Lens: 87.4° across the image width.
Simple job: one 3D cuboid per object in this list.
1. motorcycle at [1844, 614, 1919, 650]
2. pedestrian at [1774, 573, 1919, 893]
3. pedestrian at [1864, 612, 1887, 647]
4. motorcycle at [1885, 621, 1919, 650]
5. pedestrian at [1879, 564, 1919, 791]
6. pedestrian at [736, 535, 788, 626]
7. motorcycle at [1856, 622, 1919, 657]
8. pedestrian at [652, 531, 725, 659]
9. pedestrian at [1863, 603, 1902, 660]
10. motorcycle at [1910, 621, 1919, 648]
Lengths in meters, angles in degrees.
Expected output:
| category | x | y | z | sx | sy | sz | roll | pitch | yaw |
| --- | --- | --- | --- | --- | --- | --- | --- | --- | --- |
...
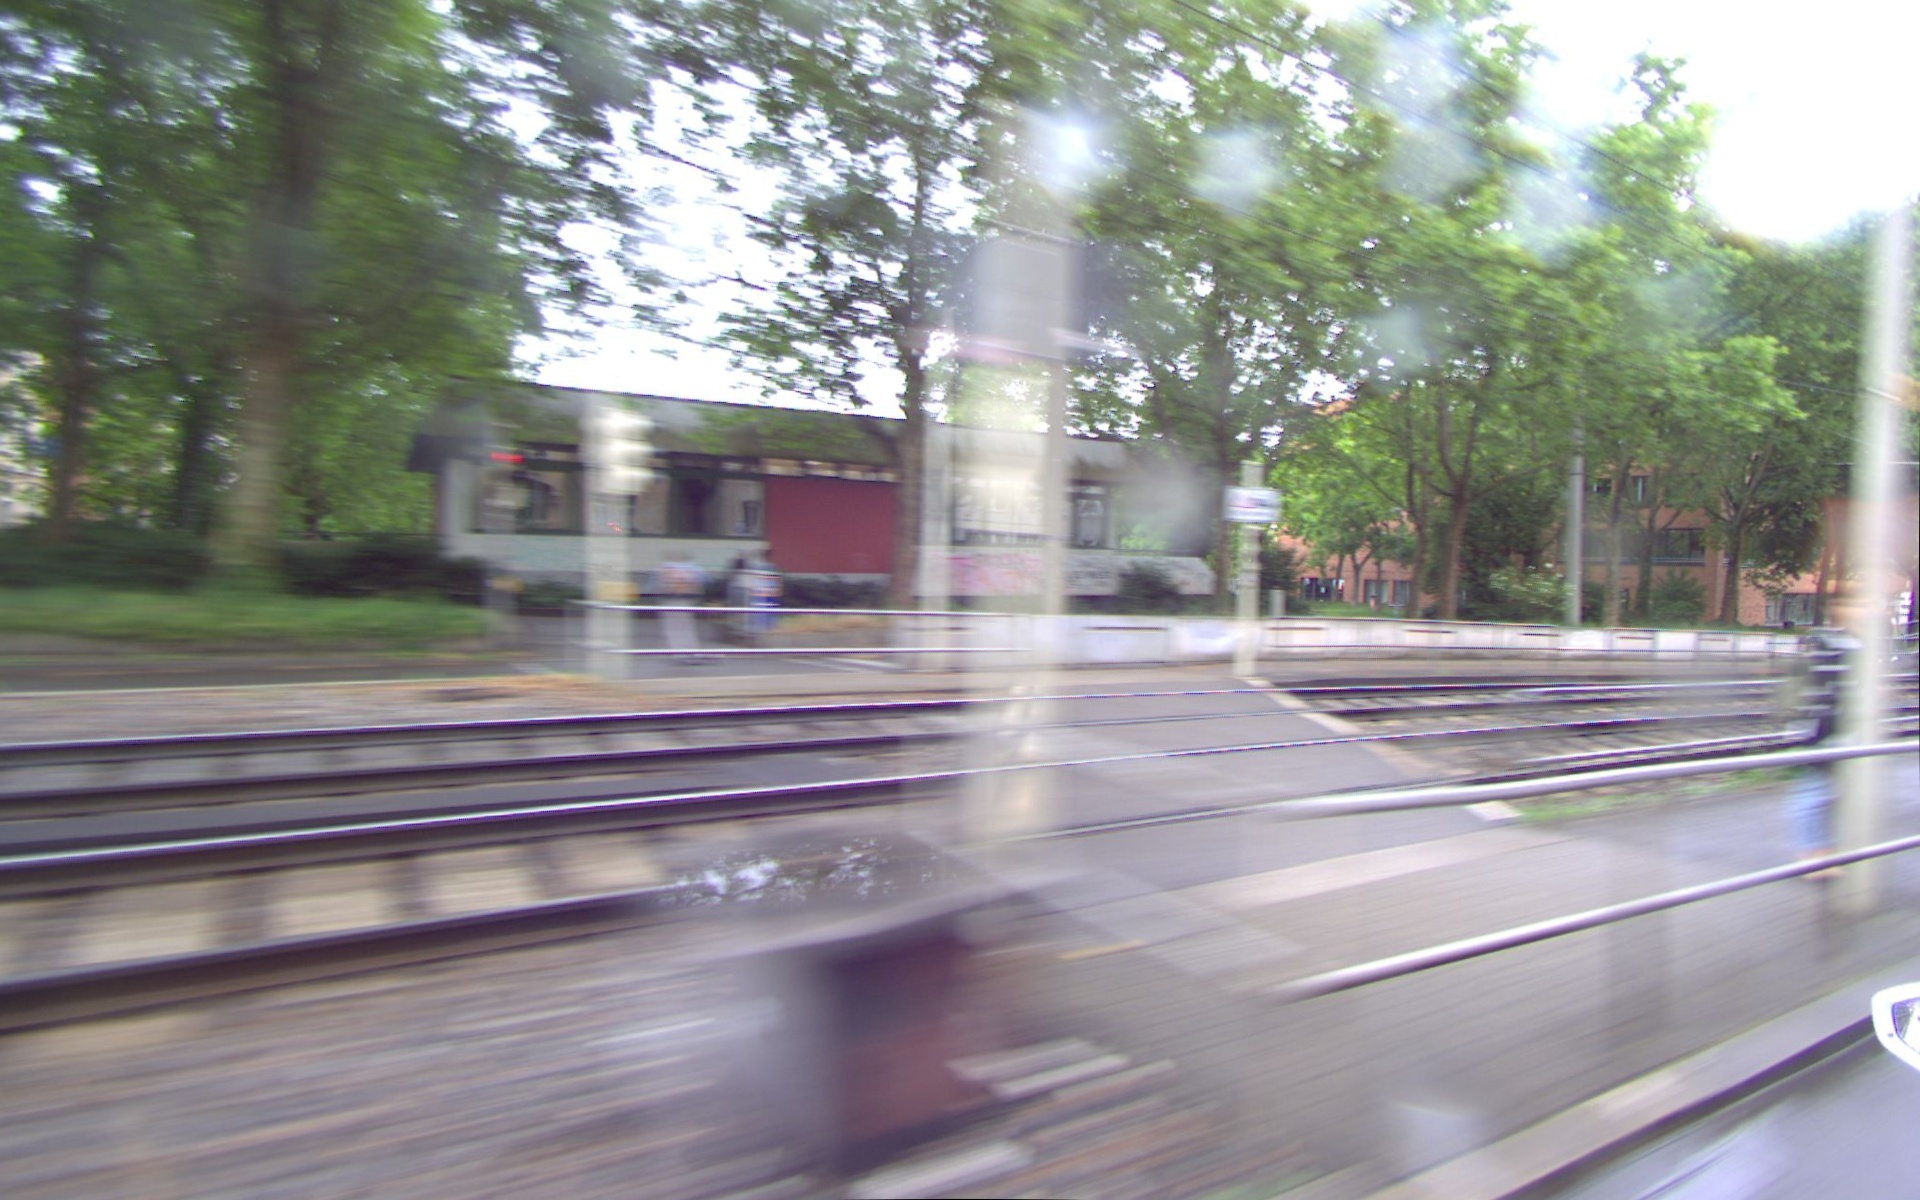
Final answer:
| category | x | y | z | sx | sy | sz | roll | pitch | yaw |
| --- | --- | --- | --- | --- | --- | --- | --- | --- | --- |
| motorcycle | 53.121 | 1.843 | 57.293 | 0.995 | 1.797 | 3.843 | 2 | 2 | -31 |
| pedestrian | 4.891 | 0.694 | 5.530 | 0.476 | 1.661 | 0.430 | 1 | 2 | -31 |
| pedestrian | 55.723 | 1.796 | 61.140 | 0.970 | 2.040 | 0.728 | 2 | 2 | -32 |
| motorcycle | 57.478 | 2.175 | 59.442 | 0.995 | 1.627 | 3.843 | 2 | 2 | -31 |
| pedestrian | 7.682 | 0.606 | 7.658 | 0.649 | 1.727 | 0.652 | 2 | 2 | -8 |
| pedestrian | -4.138 | -0.409 | 20.957 | 0.850 | 1.823 | 0.866 | 2 | 2 | -25 |
| motorcycle | 54.459 | 2.307 | 58.010 | 0.995 | 1.840 | 3.843 | 2 | 2 | -31 |
| pedestrian | -4.052 | -0.079 | 14.964 | 0.851 | 1.823 | 0.865 | 2 | 2 | -27 |
| pedestrian | 28.411 | 0.964 | 30.950 | 0.679 | 1.686 | 0.654 | -2 | 4 | -30 |
| motorcycle | 60.077 | 2.186 | 61.153 | 0.995 | 1.649 | 3.041 | 2 | 2 | -31 |
